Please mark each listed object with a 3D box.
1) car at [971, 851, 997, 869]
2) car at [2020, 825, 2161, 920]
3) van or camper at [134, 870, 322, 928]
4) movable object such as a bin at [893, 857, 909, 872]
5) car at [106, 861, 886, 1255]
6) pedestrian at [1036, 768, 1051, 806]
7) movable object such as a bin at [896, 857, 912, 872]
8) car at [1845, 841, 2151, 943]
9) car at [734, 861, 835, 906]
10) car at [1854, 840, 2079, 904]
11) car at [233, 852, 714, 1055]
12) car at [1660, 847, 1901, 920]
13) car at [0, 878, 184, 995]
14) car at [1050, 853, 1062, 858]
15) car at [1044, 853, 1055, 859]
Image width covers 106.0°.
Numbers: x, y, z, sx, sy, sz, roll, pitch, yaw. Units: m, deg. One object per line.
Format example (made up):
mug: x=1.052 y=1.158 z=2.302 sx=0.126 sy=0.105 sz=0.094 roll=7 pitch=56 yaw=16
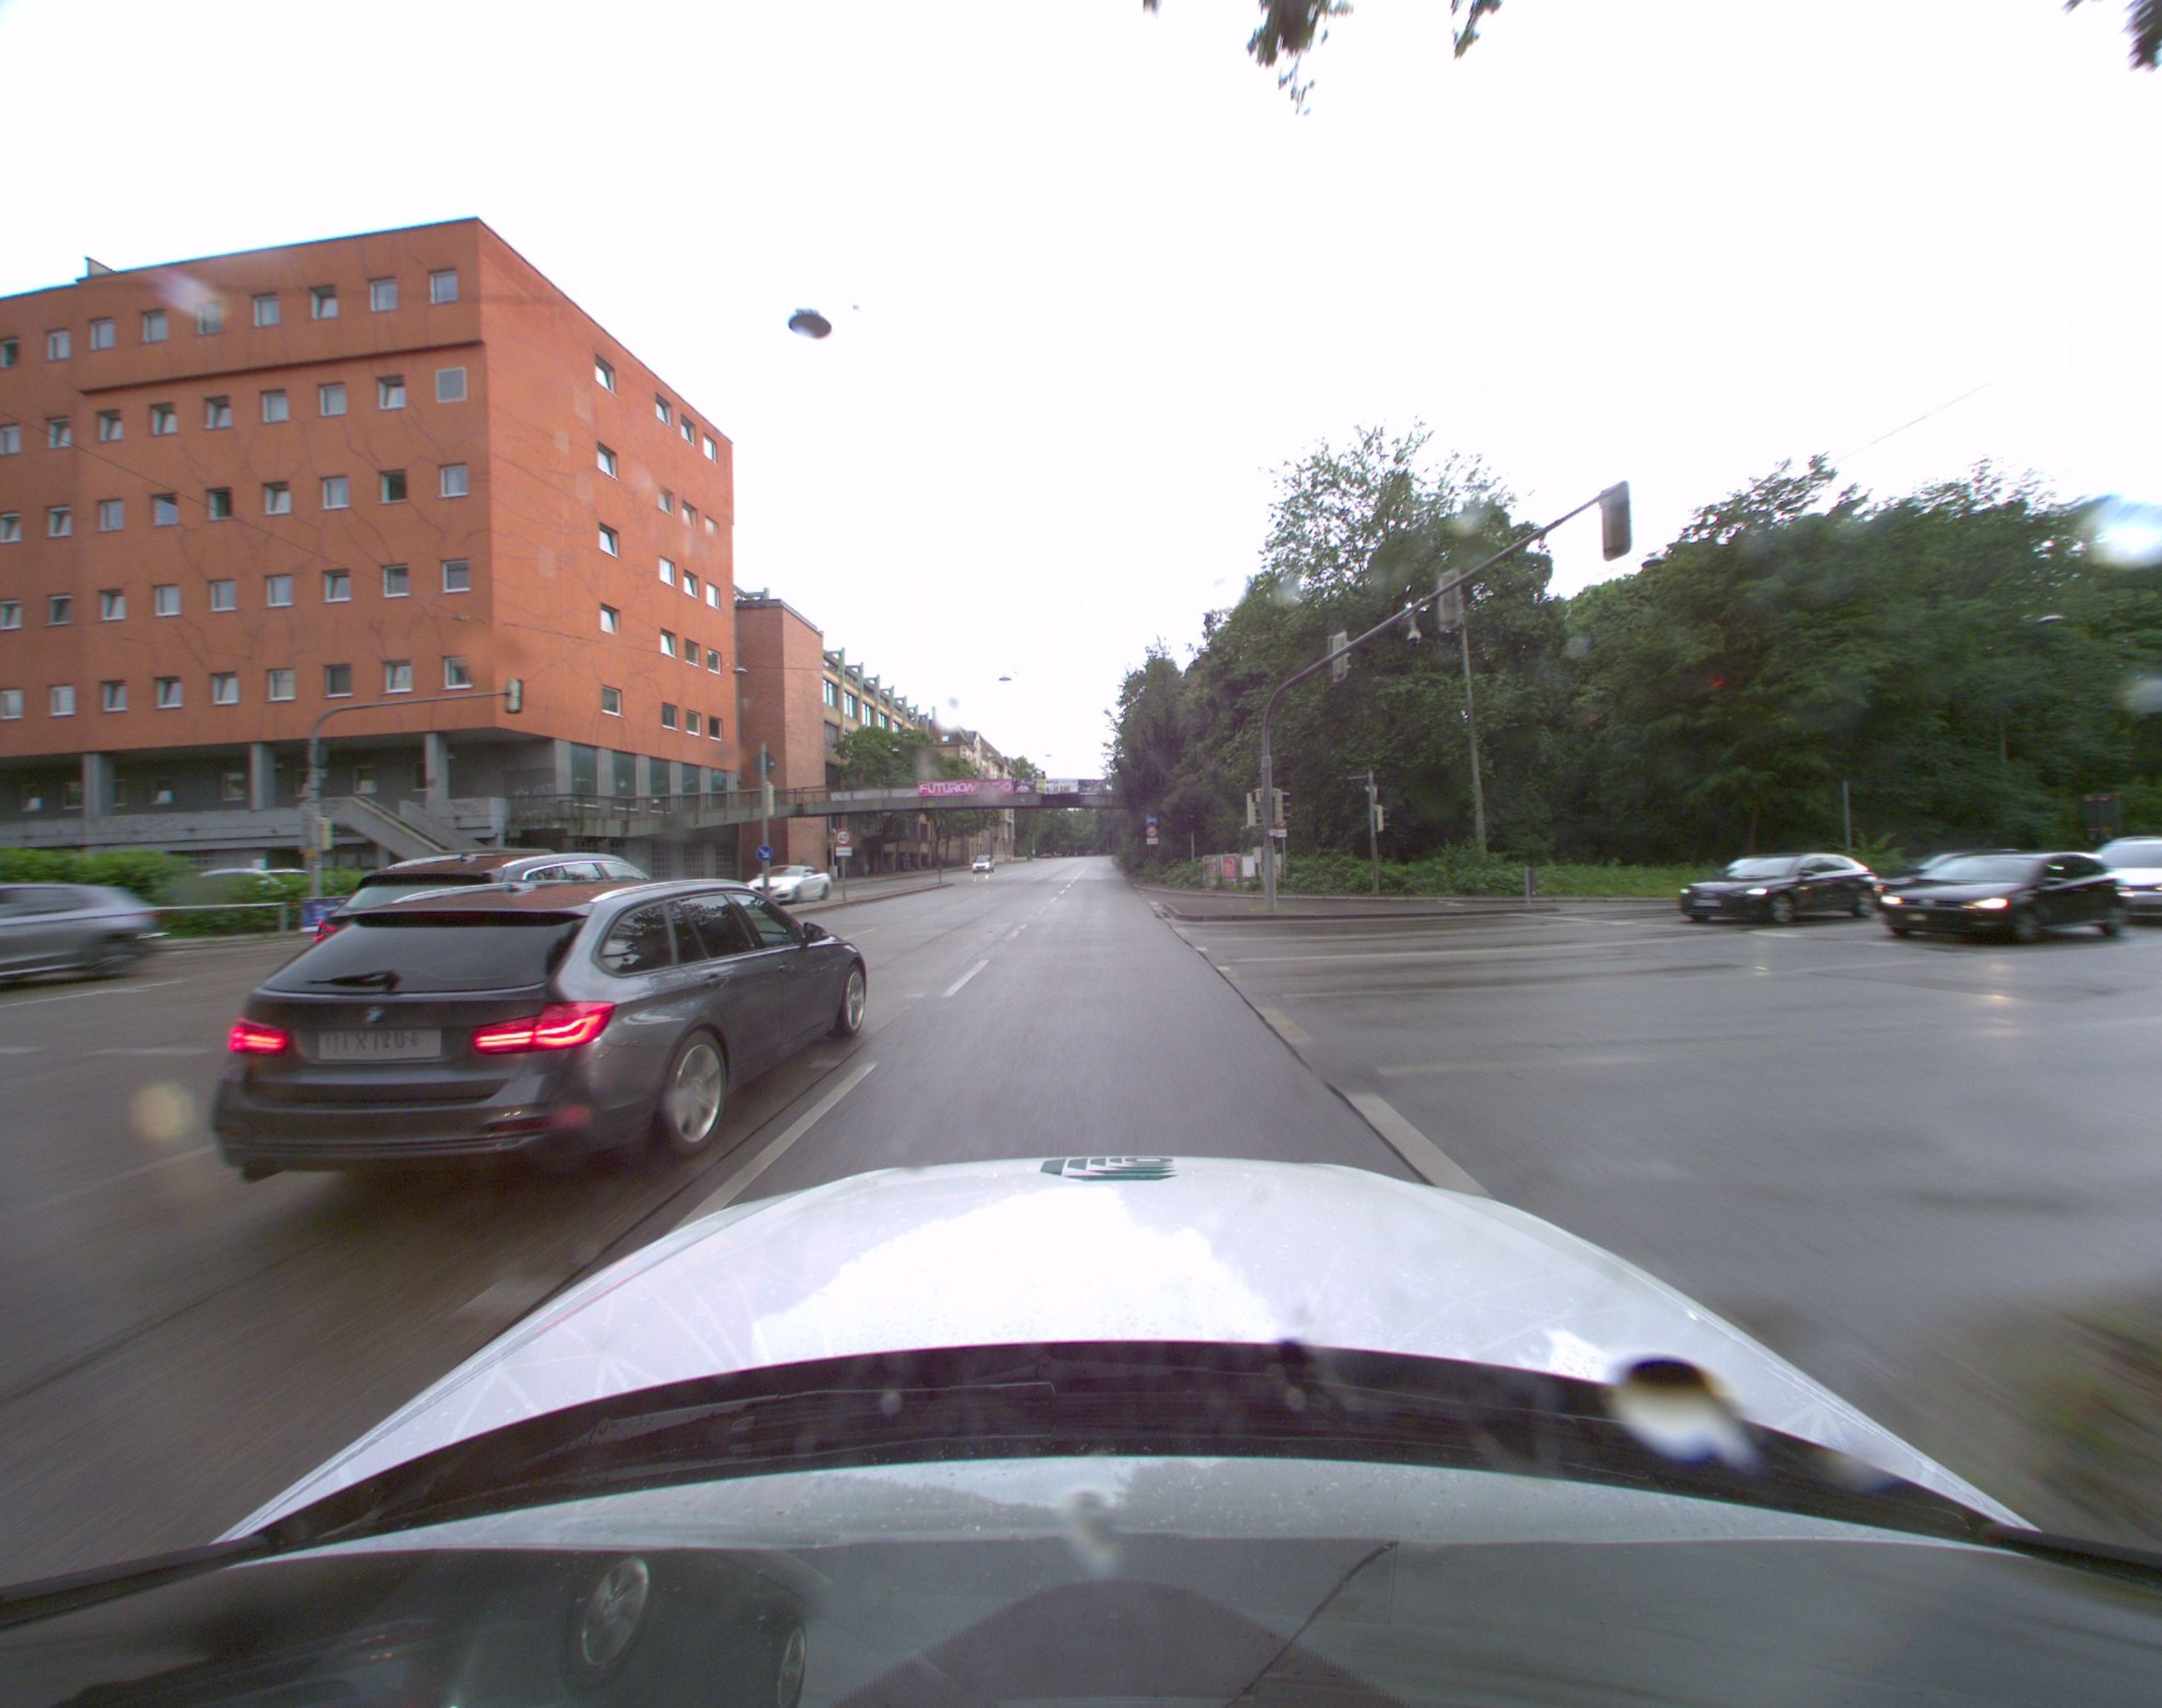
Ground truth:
car: x=-8.583 y=0.527 z=72.282 sx=1.594 sy=1.499 sz=3.713 roll=-3 pitch=0 yaw=2
car: x=20.922 y=0.316 z=15.827 sx=4.205 sy=1.679 sz=1.897 roll=-1 pitch=0 yaw=-16
van or camper: x=-26.193 y=1.359 z=25.089 sx=3.966 sy=1.627 sz=1.918 roll=-1 pitch=0 yaw=6
movable object such as a bin: x=-18.670 y=1.090 z=84.464 sx=1.277 sy=1.518 sz=1.273 roll=-1 pitch=0 yaw=2
car: x=-2.824 y=0.817 z=5.403 sx=1.770 sy=1.458 sz=4.480 roll=-2 pitch=0 yaw=2
pedestrian: x=-2.473 y=-4.403 z=53.651 sx=0.952 sy=2.345 sz=1.005 roll=1 pitch=-1 yaw=-5
movable object such as a bin: x=-18.718 y=1.089 z=86.102 sx=1.294 sy=1.518 sz=1.215 roll=-1 pitch=0 yaw=2
car: x=15.419 y=0.565 z=13.739 sx=4.195 sy=1.460 sz=1.783 roll=-1 pitch=0 yaw=-16
car: x=-10.480 y=0.985 z=29.189 sx=1.823 sy=1.393 sz=4.407 roll=-2 pitch=0 yaw=2
car: x=20.850 y=0.431 z=19.209 sx=4.441 sy=1.402 sz=1.820 roll=1 pitch=0 yaw=-16
car: x=-6.071 y=0.836 z=9.012 sx=1.802 sy=1.656 sz=4.447 roll=1 pitch=0 yaw=3
car: x=14.949 y=0.617 z=17.469 sx=4.207 sy=1.440 sz=1.940 roll=1 pitch=0 yaw=-16
car: x=-14.854 y=1.117 z=10.605 sx=1.701 sy=1.464 sz=4.045 roll=-2 pitch=0 yaw=3
car: x=-7.794 y=0.492 z=251.141 sx=3.572 sy=1.547 sz=1.615 roll=1 pitch=0 yaw=3
car: x=-9.185 y=0.607 z=237.700 sx=2.011 sy=1.643 sz=4.347 roll=-1 pitch=0 yaw=-19
